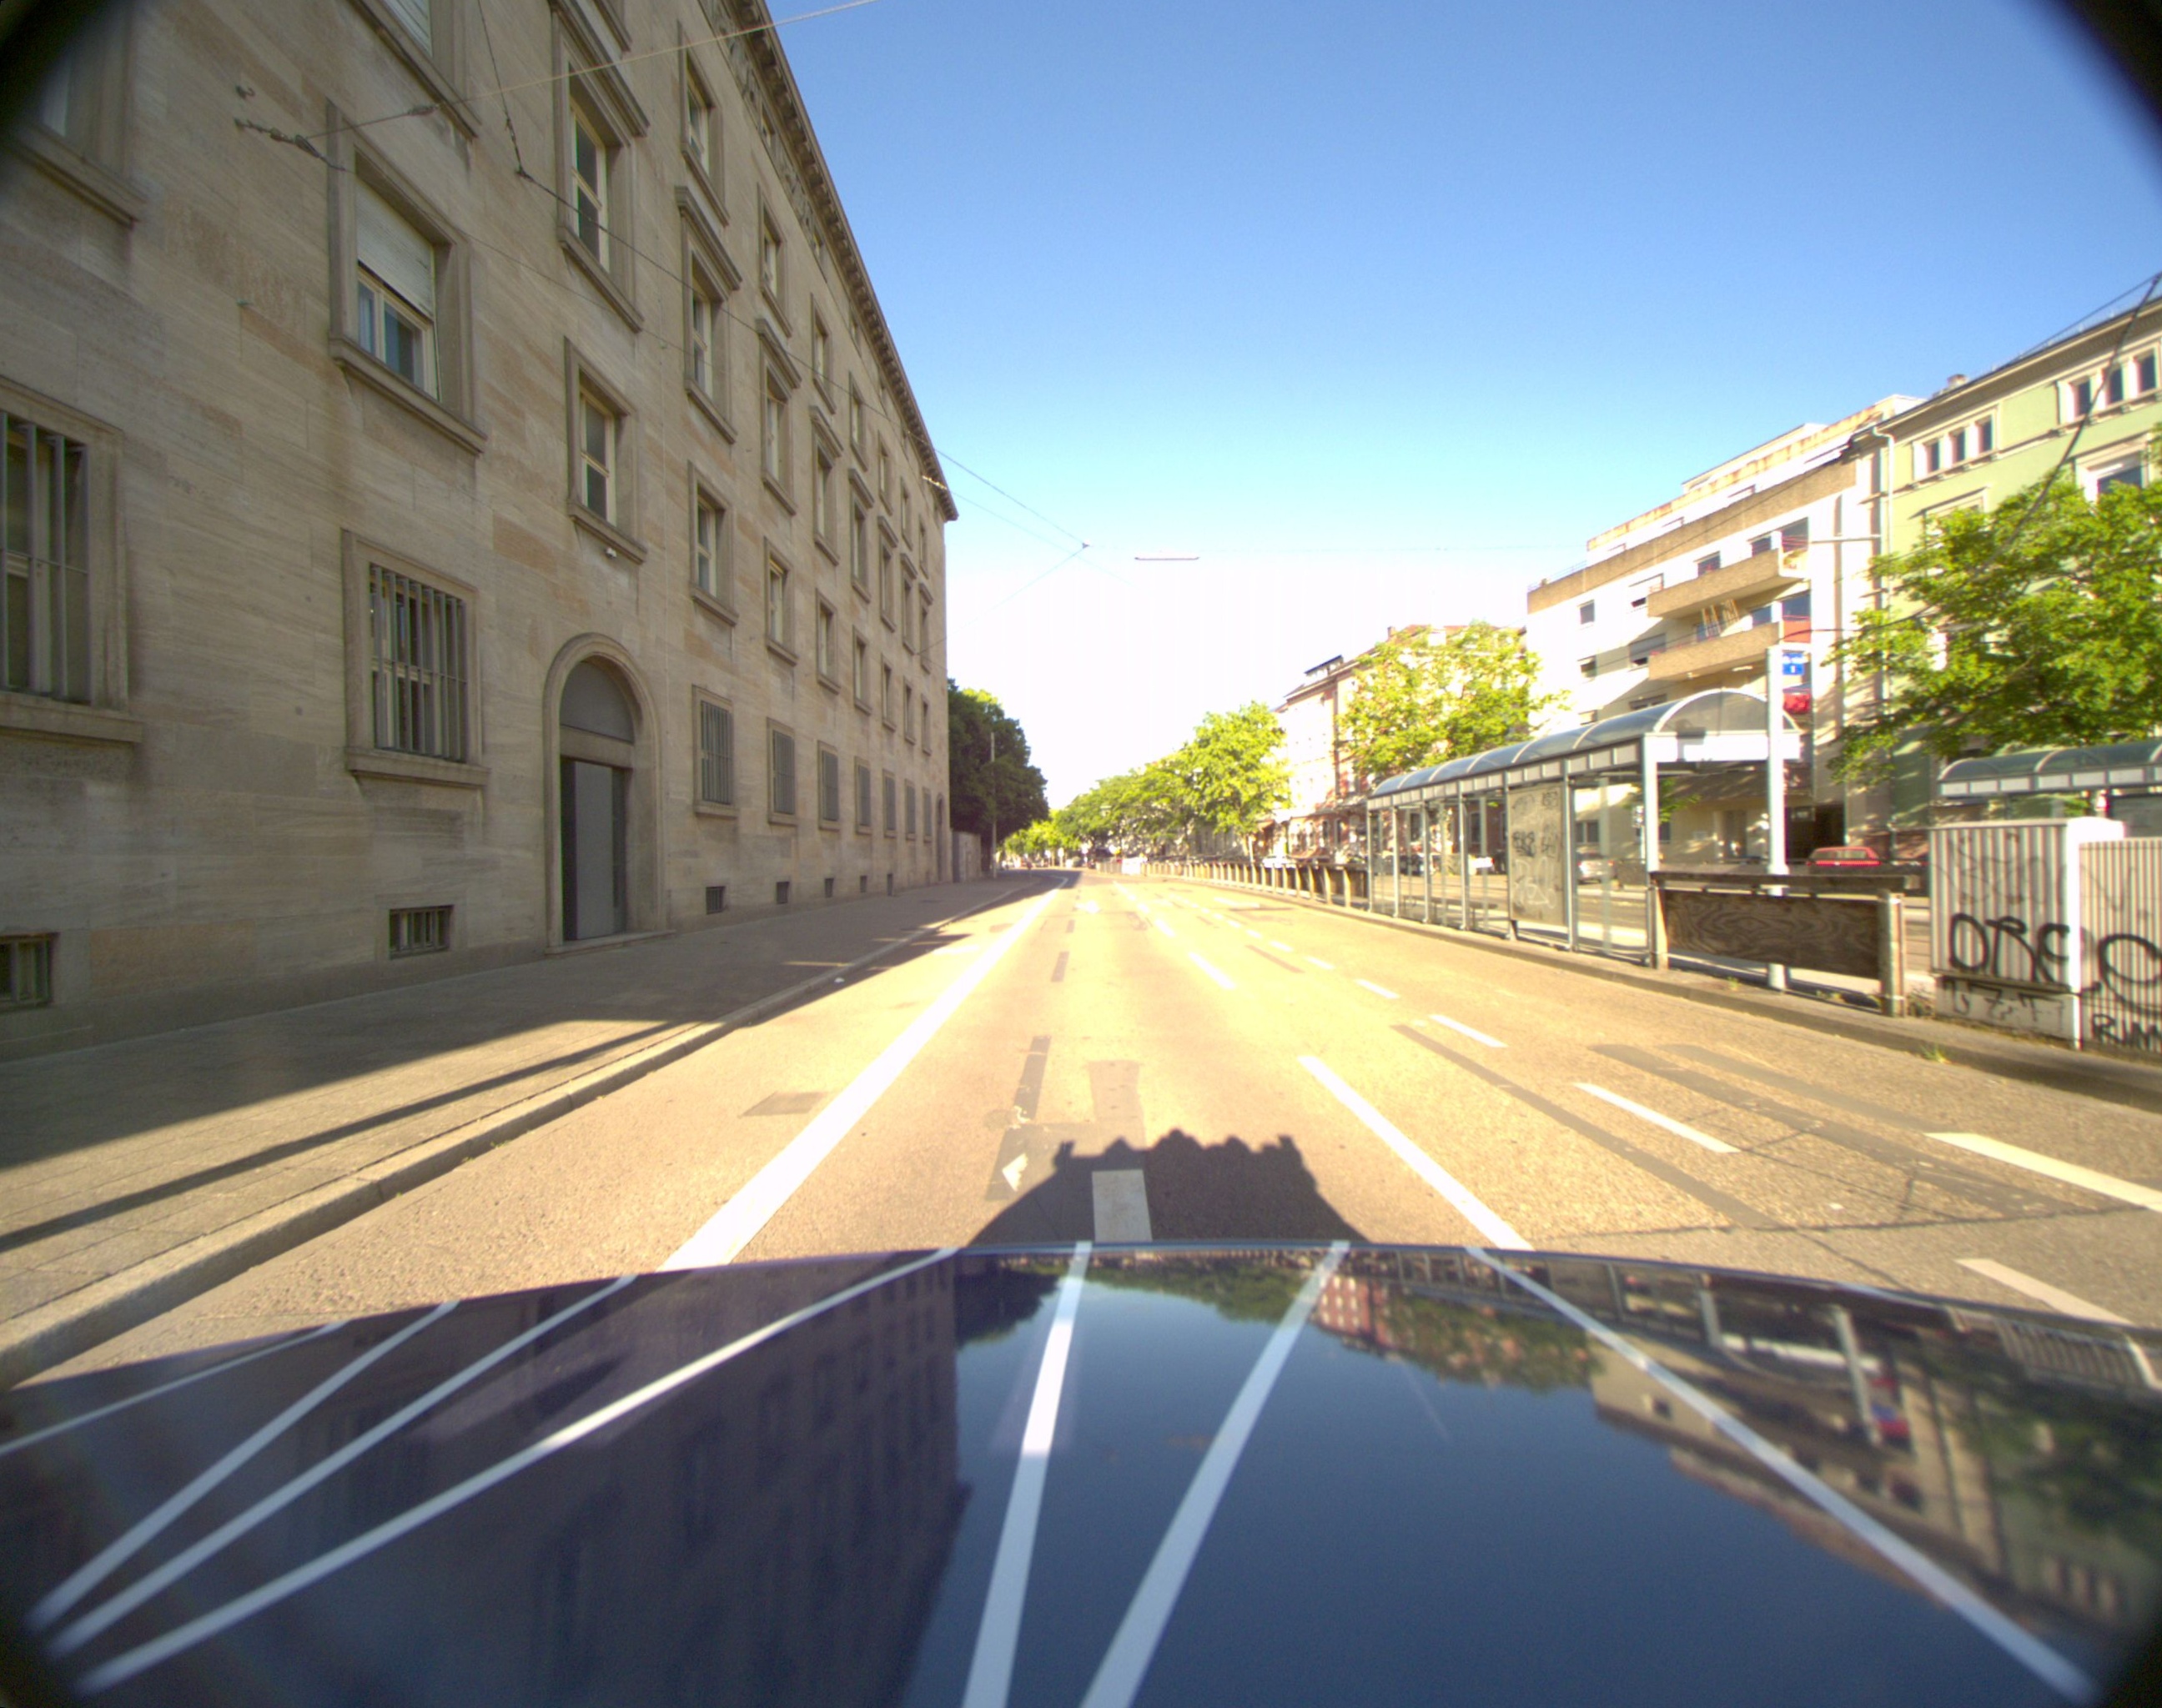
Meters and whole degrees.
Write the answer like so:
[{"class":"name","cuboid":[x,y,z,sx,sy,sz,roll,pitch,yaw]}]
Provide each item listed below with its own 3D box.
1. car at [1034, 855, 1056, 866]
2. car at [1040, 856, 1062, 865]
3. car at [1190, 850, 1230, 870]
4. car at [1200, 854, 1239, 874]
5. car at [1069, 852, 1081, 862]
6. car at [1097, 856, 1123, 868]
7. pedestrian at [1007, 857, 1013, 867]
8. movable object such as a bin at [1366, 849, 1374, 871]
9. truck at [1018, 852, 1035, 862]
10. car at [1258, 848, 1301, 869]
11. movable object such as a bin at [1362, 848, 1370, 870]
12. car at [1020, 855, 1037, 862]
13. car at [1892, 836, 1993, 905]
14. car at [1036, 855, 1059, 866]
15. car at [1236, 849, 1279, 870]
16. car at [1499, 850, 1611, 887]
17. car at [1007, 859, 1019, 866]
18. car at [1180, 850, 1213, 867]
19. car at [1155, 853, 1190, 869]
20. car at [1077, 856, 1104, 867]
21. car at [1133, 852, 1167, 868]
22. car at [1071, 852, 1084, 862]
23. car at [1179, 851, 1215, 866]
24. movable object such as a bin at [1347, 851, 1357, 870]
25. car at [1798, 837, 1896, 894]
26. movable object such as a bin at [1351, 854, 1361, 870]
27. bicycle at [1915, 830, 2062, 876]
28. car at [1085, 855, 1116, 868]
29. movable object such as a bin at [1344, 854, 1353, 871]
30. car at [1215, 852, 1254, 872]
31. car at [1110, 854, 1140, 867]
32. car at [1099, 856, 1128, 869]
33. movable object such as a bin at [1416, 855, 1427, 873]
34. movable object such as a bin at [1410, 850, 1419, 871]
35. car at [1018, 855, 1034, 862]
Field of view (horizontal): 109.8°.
[{"class":"car","cuboid":[-7.650,1.349,161.777,4.311,1.940,1.670,-4,1,-18]},{"class":"car","cuboid":[-6.241,1.391,156.248,4.105,1.561,1.670,-4,1,-18]},{"class":"car","cuboid":[12.994,0.601,76.298,4.293,1.713,1.703,-5,3,-43]},{"class":"car","cuboid":[13.283,0.945,72.740,1.630,1.607,3.993,-2,1,43]},{"class":"car","cuboid":[-1.227,0.623,144.803,1.673,1.886,3.211,-1,0,-12]},{"class":"car","cuboid":[4.336,1.234,114.133,1.744,1.511,3.773,-2,2,44]},{"class":"pedestrian","cuboid":[-11.770,1.343,126.311,0.872,1.710,0.804,-1,0,-3]},{"class":"movable object such as a bin","cuboid":[18.826,0.406,49.533,0.380,1.418,0.387,-1,1,0]},{"class":"truck","cuboid":[-13.552,0.719,189.544,3.774,2.409,1.671,-4,1,-13]},{"class":"car","cuboid":[16.341,0.354,62.461,1.731,1.513,3.923,-3,1,41]},{"class":"movable object such as a bin","cuboid":[18.803,0.349,50.148,0.380,1.418,0.386,-1,1,0]},{"class":"car","cuboid":[-13.350,1.092,192.610,3.775,1.584,1.670,-4,1,-18]},{"class":"car","cuboid":[23.701,0.388,21.028,4.524,1.632,1.585,-3,2,-45]},{"class":"car","cuboid":[-7.018,1.343,159.963,4.311,1.940,1.670,-4,1,-18]},{"class":"car","cuboid":[15.202,0.472,65.362,3.929,1.499,1.685,-4,1,-43]},{"class":"car","cuboid":[20.351,0.579,32.847,1.711,1.402,4.289,-4,0,-8]},{"class":"car","cuboid":[-15.552,1.889,173.495,1.878,1.591,4.421,-1,0,-16]},{"class":"car","cuboid":[12.158,0.455,79.699,3.286,1.524,1.703,-5,2,-43]},{"class":"car","cuboid":[10.594,0.811,87.780,3.877,1.645,1.768,-3,2,-41]},{"class":"car","cuboid":[1.464,1.214,118.344,4.007,1.477,1.777,-4,2,-44]},{"class":"car","cuboid":[8.676,0.745,95.072,4.208,1.788,1.781,-4,2,-41]},{"class":"car","cuboid":[-0.663,0.542,140.554,1.673,1.886,3.211,-1,0,-12]},{"class":"car","cuboid":[12.650,0.472,82.782,3.829,1.477,1.766,-4,2,-41]},{"class":"movable object such as a bin","cuboid":[18.049,0.445,50.598,0.380,1.234,0.639,-1,1,0]},{"class":"car","cuboid":[22.418,0.284,22.272,4.524,1.417,1.868,-3,2,-45]},{"class":"movable object such as a bin","cuboid":[18.058,0.539,49.905,0.380,1.062,0.639,-1,1,0]},{"class":"bicycle","cuboid":[29.012,-0.022,24.395,0.719,1.390,3.007,-1,0,-14]},{"class":"car","cuboid":[3.022,1.095,116.126,4.366,1.704,1.944,-4,2,-35]},{"class":"movable object such as a bin","cuboid":[18.062,0.570,51.281,0.380,1.196,0.639,-1,1,0]},{"class":"car","cuboid":[14.156,0.726,70.051,1.630,1.607,3.993,-2,1,43]},{"class":"car","cuboid":[6.285,0.903,108.089,4.208,1.549,1.636,-3,1,-41]},{"class":"car","cuboid":[4.753,1.247,110.915,4.208,1.714,1.780,-4,2,-44]},{"class":"movable object such as a bin","cuboid":[21.300,0.636,47.522,0.380,1.090,0.552,-1,2,-6]},{"class":"movable object such as a bin","cuboid":[21.831,0.424,49.670,0.380,1.304,0.387,-1,1,-6]},{"class":"car","cuboid":[-14.165,1.089,196.076,3.775,1.584,1.670,-4,1,-18]}]
